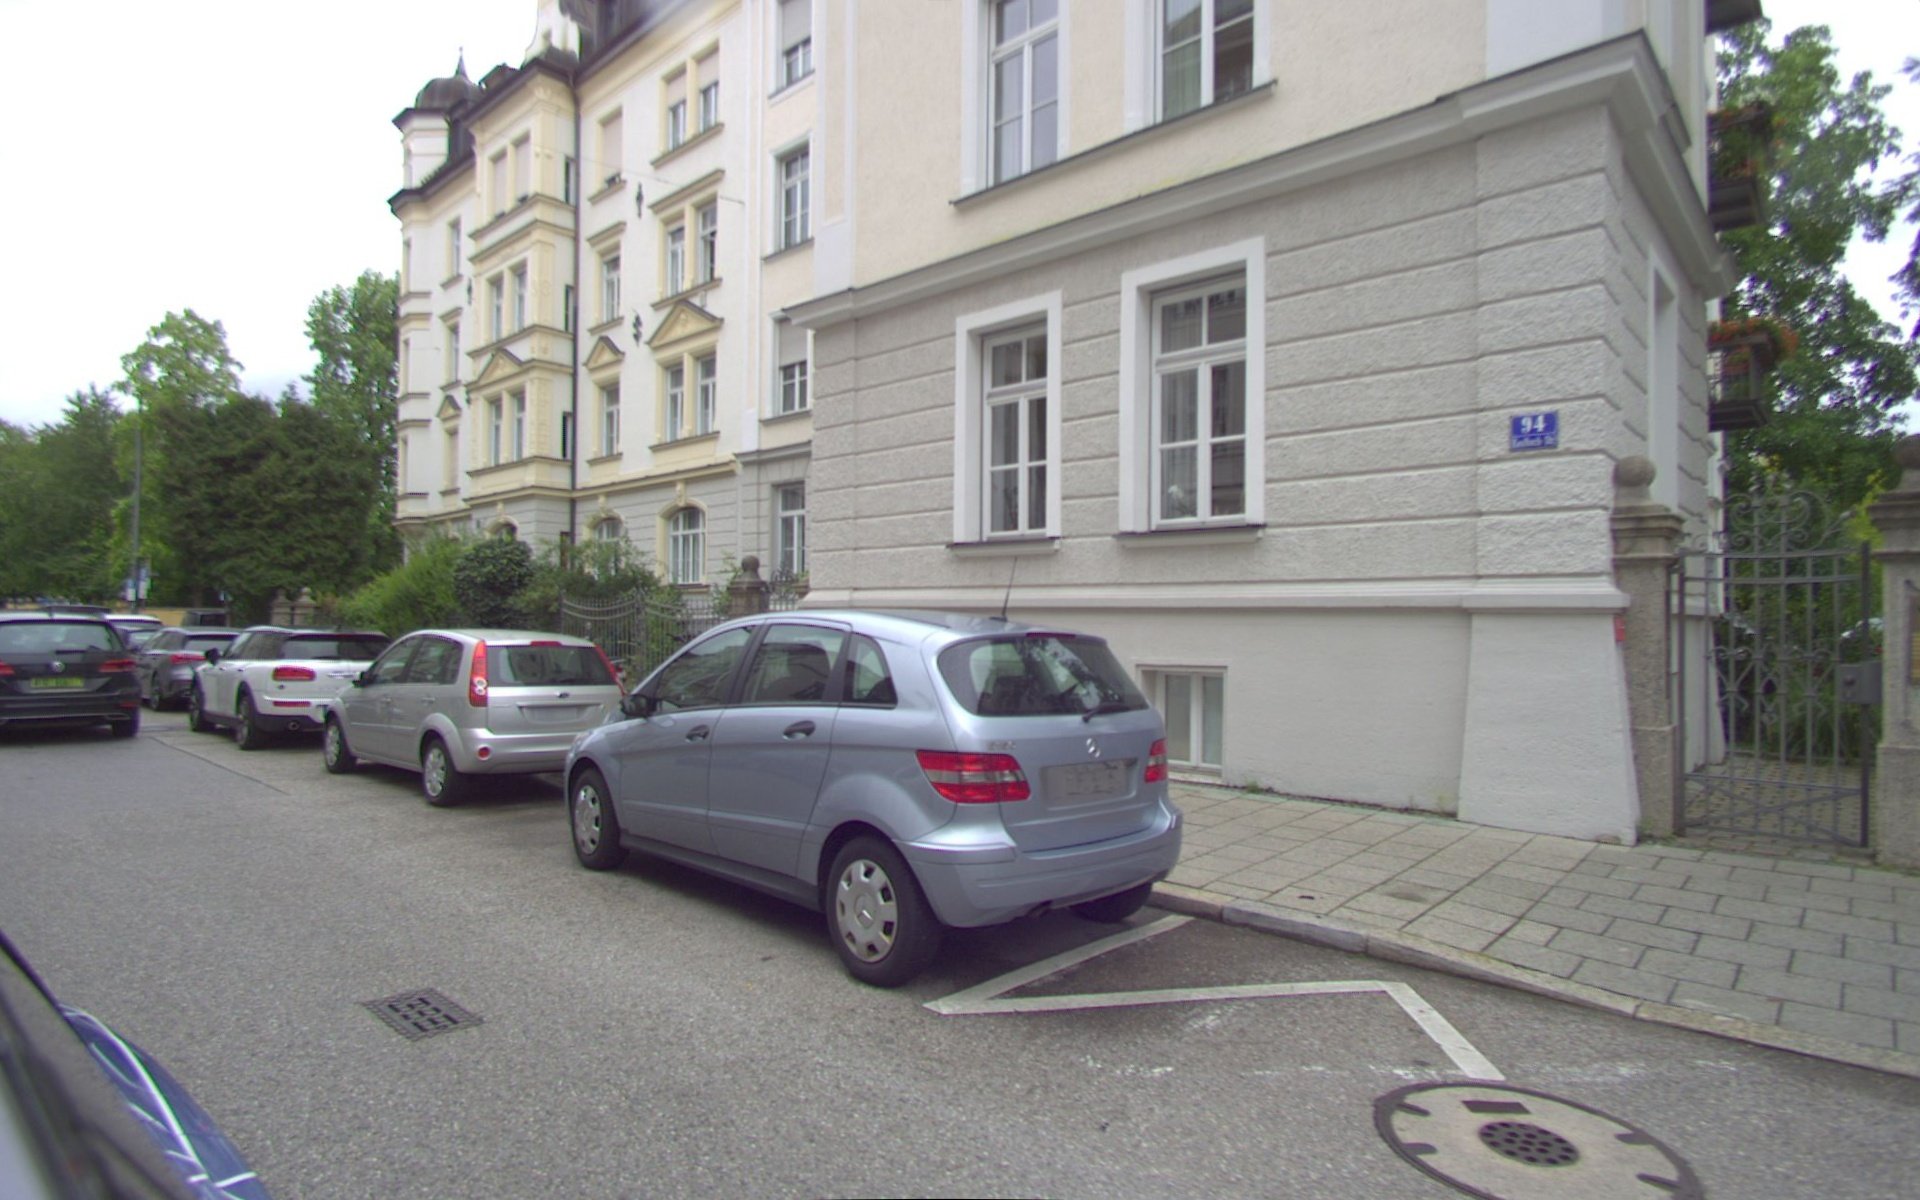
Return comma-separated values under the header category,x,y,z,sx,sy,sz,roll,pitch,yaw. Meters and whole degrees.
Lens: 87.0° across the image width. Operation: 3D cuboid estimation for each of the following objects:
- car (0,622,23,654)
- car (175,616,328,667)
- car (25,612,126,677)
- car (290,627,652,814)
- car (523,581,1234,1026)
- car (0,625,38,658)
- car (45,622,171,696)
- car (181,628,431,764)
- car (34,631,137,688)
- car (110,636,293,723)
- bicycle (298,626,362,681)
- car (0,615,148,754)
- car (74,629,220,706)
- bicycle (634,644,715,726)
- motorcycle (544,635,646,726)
category,x,y,z,sx,sy,sz,roll,pitch,yaw
car,-48.744,1.918,51.087,3.929,1.573,1.682,-1,-3,42
car,-27.579,1.597,39.529,2.051,1.872,4.466,-1,-2,36
car,-28.071,1.374,32.059,4.817,1.901,1.891,-1,-3,43
car,-4.801,1.005,9.696,3.998,1.414,1.627,-1,-4,41
car,-0.719,0.827,5.676,4.062,1.593,1.677,-2,-5,44
car,-44.948,1.939,47.754,3.954,1.504,1.682,-1,-3,42
car,-21.236,1.421,25.156,4.485,1.661,1.786,-1,-4,43
car,-8.584,1.107,13.148,4.080,1.446,1.777,-1,-2,43
car,-24.575,1.655,28.399,3.918,1.441,1.625,-1,-5,42
car,-13.715,1.367,18.211,4.190,1.375,1.717,-1,-4,41
bicycle,-15.952,1.332,25.606,2.531,1.307,0.747,-2,-4,44
car,-11.959,0.996,12.996,4.084,1.545,1.706,-2,-2,42
car,-17.606,1.386,21.863,3.998,1.431,1.750,0,-2,41
bicycle,-4.109,1.196,14.496,1.420,1.069,0.426,-1,1,44
motorcycle,-5.646,1.204,15.607,1.821,1.259,0.697,0,0,42
